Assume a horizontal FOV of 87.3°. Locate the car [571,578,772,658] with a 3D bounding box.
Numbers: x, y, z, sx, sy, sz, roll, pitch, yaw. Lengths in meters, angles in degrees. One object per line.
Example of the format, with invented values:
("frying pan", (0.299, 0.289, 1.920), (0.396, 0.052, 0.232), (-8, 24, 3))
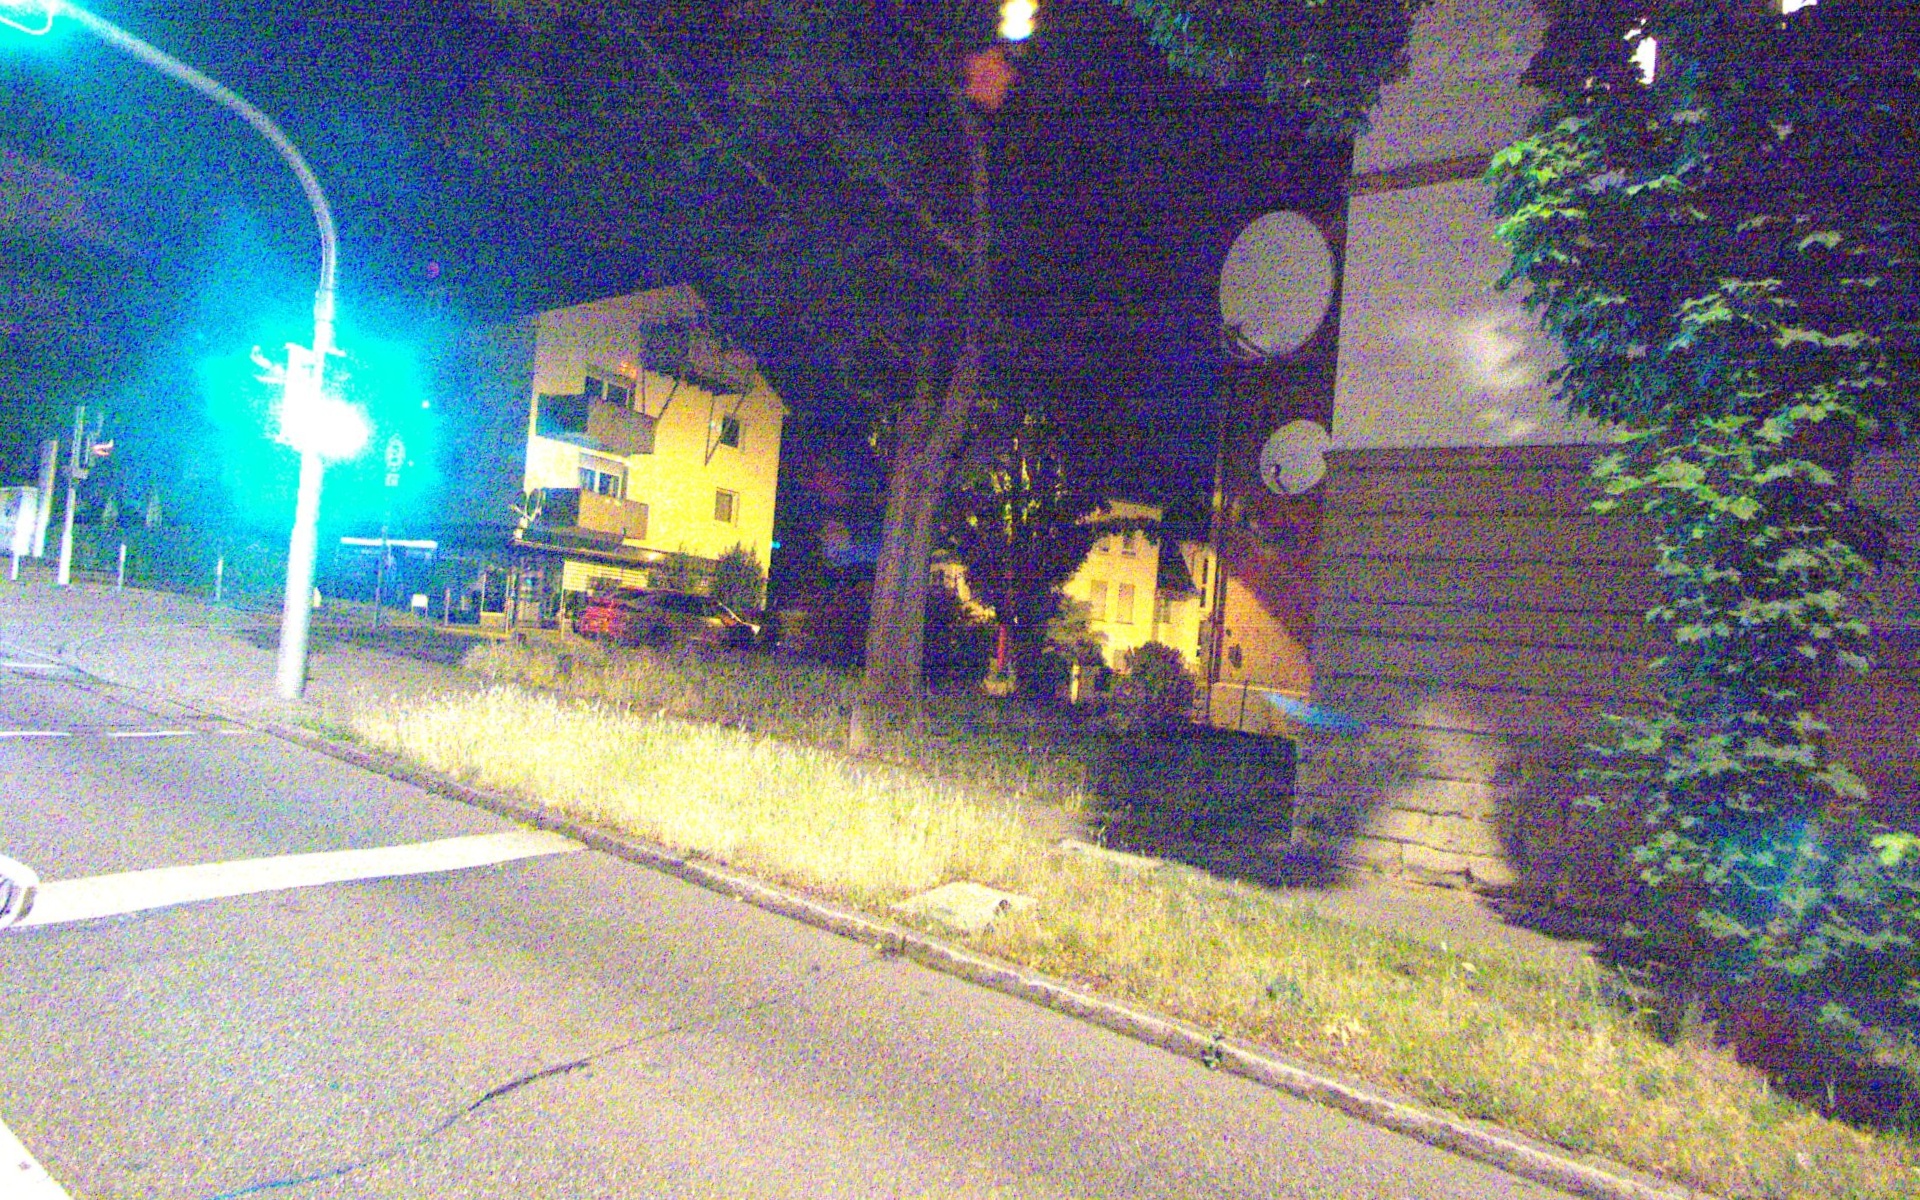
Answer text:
("car", (-6.543, 0.454, 23.175), (1.740, 1.295, 4.131), (6, -3, 39))
